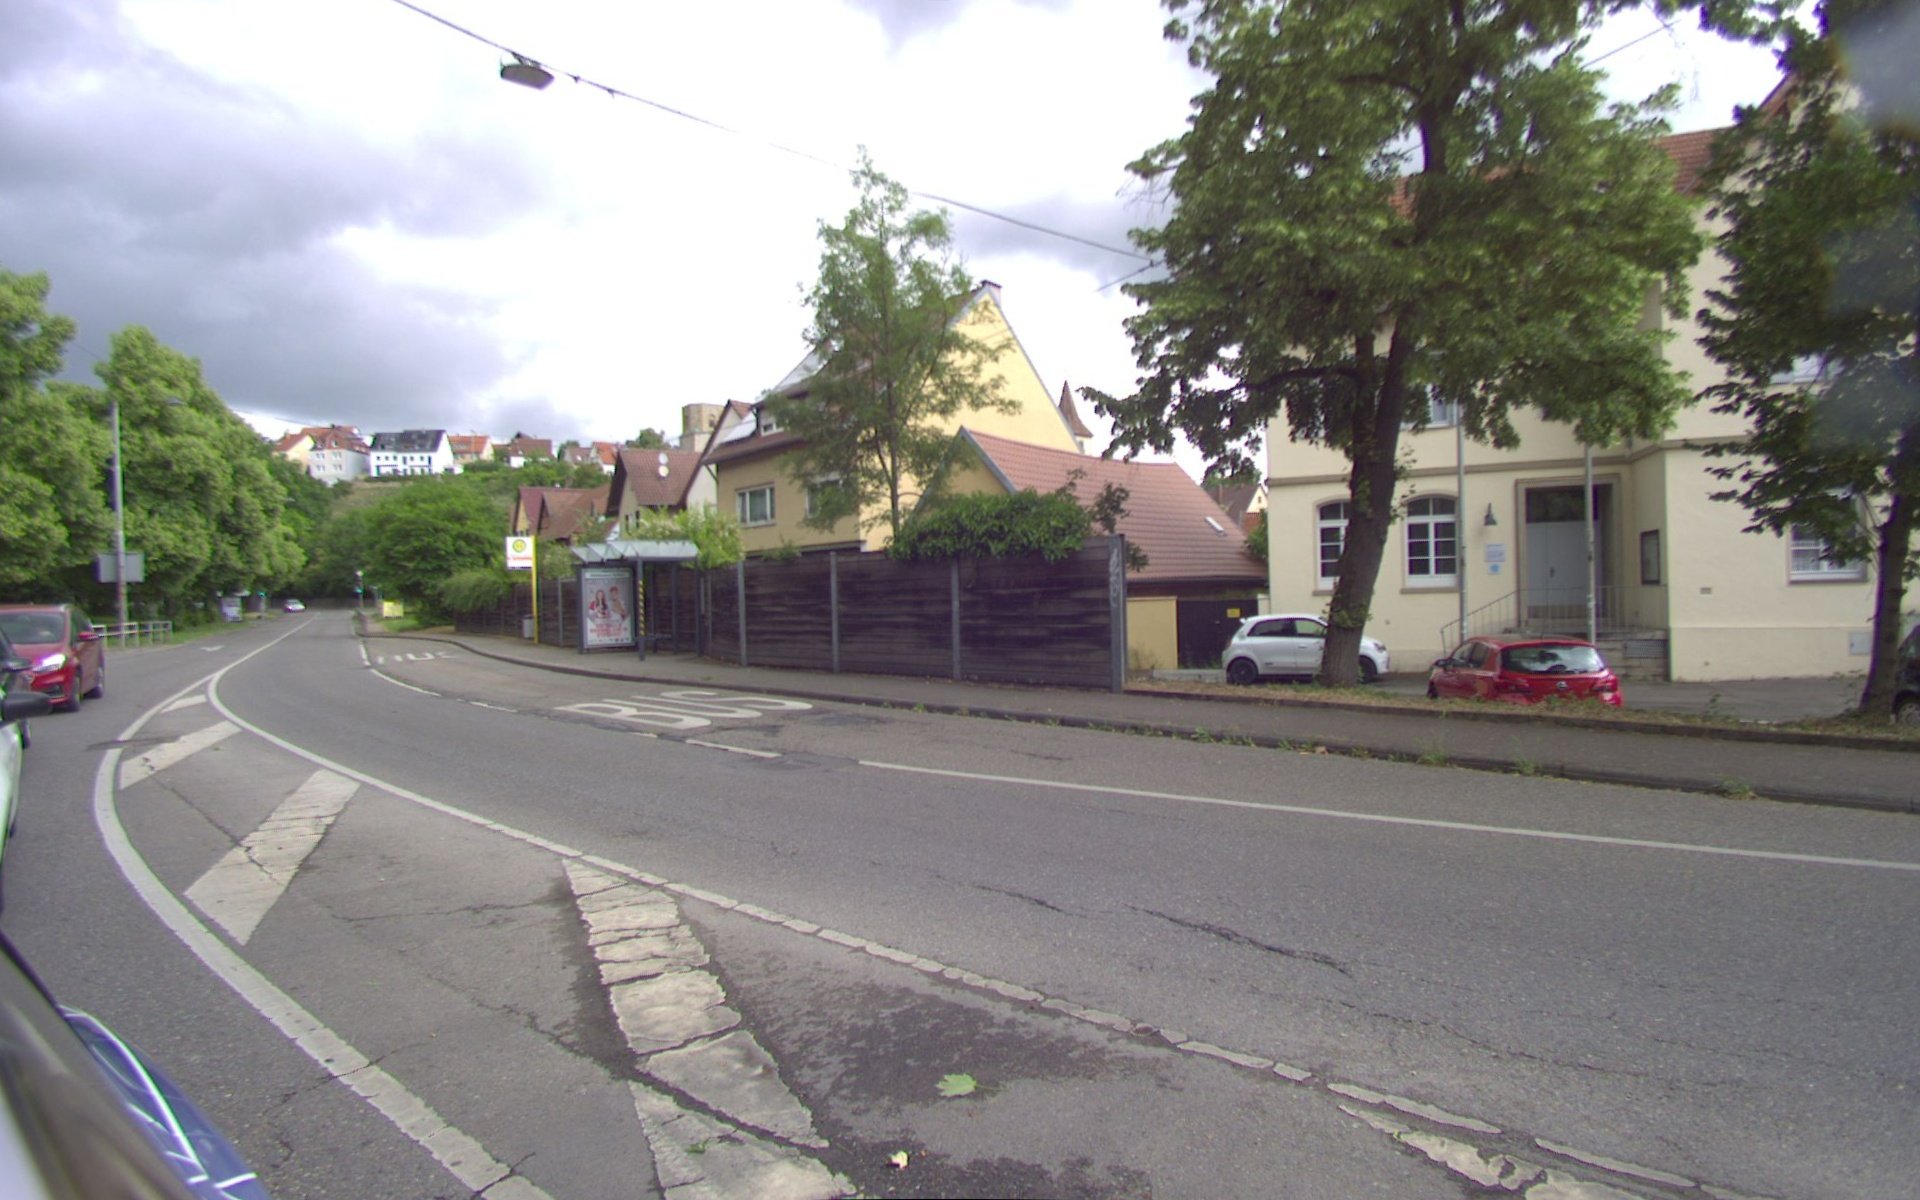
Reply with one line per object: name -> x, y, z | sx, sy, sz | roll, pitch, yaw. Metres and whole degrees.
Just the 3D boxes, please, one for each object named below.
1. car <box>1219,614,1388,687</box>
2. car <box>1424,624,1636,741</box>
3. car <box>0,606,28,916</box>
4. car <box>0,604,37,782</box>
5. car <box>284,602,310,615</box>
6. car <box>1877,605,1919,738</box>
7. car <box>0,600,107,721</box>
car -> 7.738, 1.108, 22.924 | 3.487, 1.528, 1.581 | -1, 0, 20
car -> 8.119, 1.104, 14.768 | 1.590, 1.389, 3.544 | -1, 0, 10
car -> -6.038, 0.814, 5.274 | 1.594, 1.525, 3.610 | -1, 0, -41
car -> -10.232, 0.851, 9.853 | 1.699, 1.559, 3.787 | -1, 0, -41
car -> -86.300, 1.099, 131.689 | 3.998, 1.652, 1.822 | -1, 0, 41
car -> 12.692, 0.889, 11.586 | 1.586, 1.644, 3.093 | -1, 0, 2
car -> -14.750, 0.880, 15.829 | 1.799, 1.685, 4.068 | -1, 0, -36
